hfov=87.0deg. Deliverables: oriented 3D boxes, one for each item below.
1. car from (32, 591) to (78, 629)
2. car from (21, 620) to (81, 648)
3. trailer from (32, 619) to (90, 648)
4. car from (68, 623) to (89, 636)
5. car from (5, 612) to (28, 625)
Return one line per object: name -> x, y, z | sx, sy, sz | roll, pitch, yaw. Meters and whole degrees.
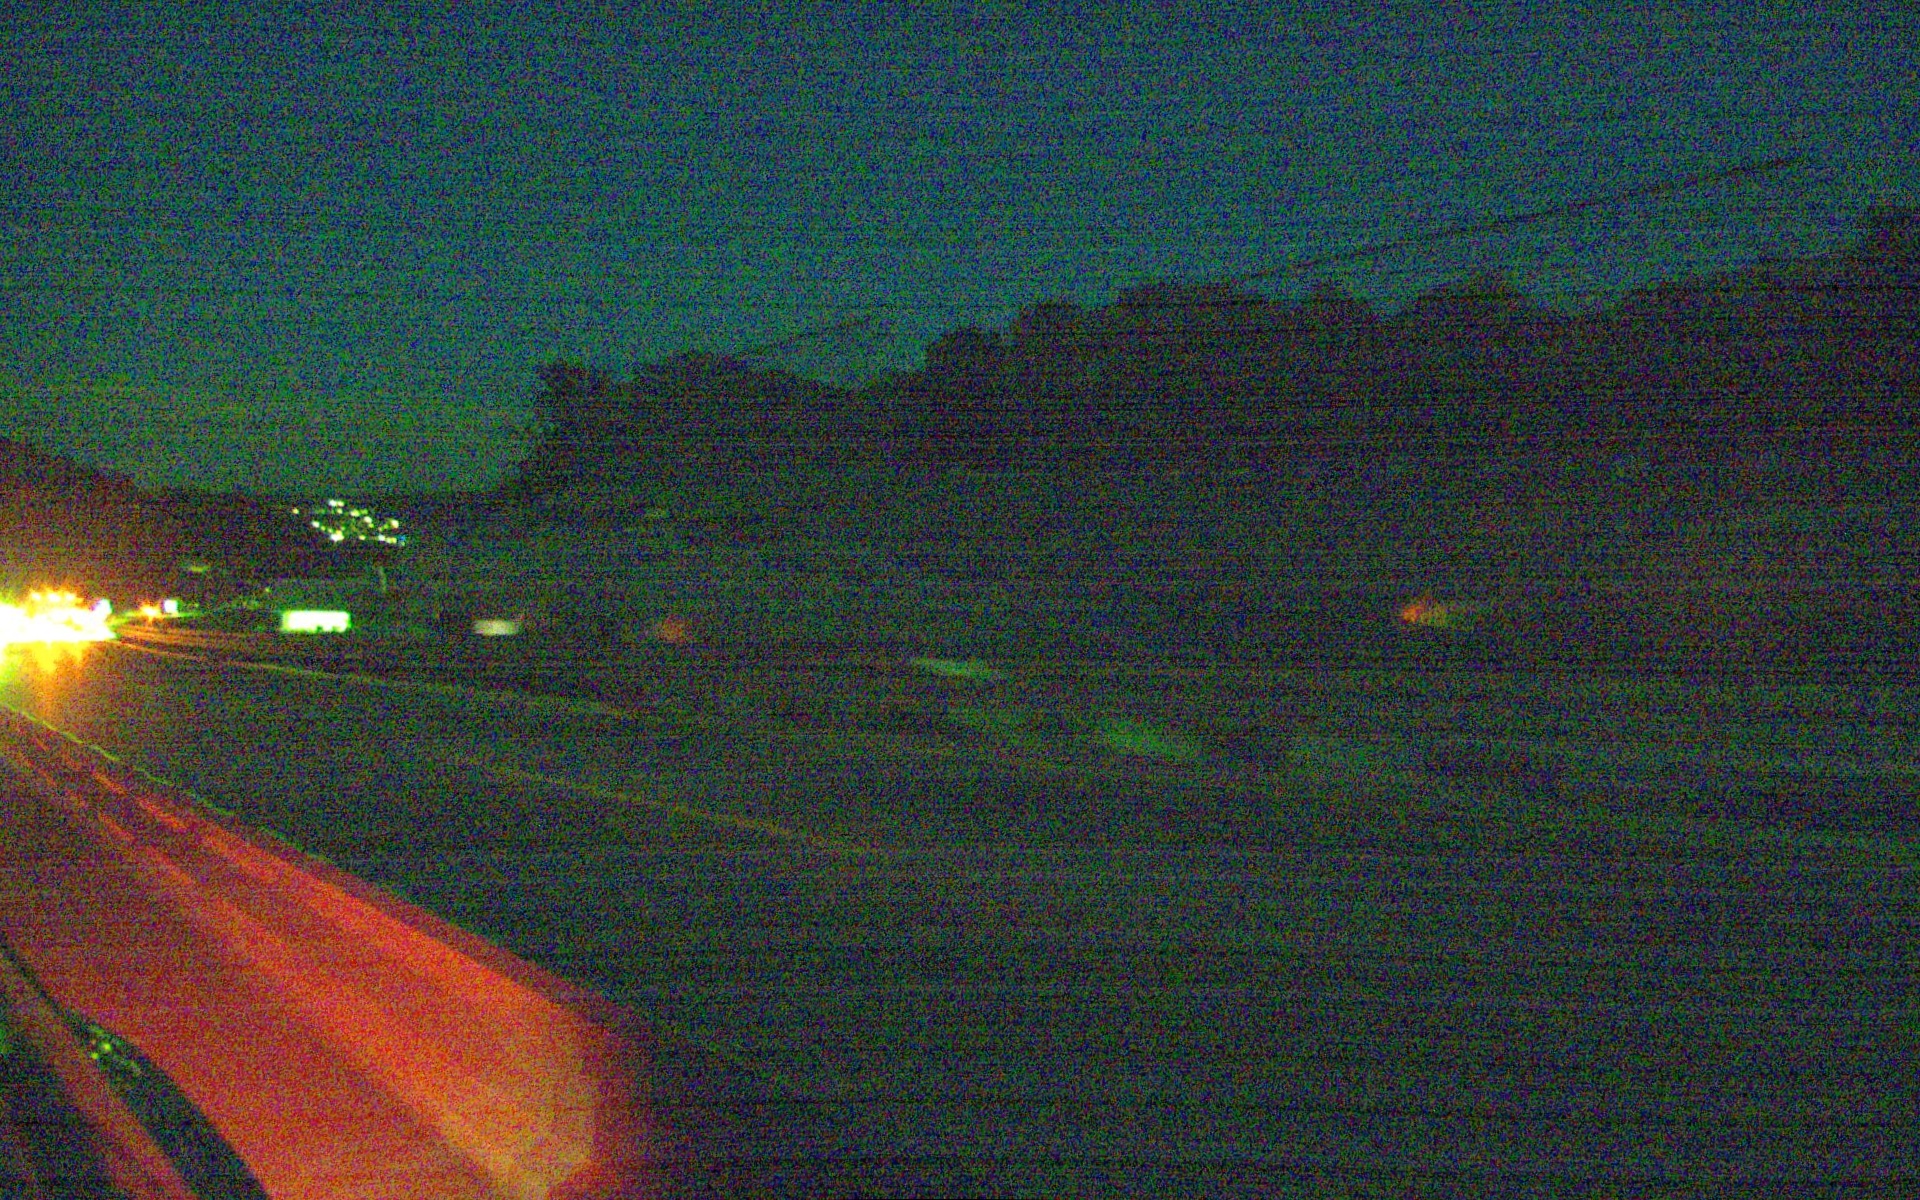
car -> -76.928, 0.807, 85.954 | 2.457, 3.129, 7.390 | 1, -1, -45
car -> -49.160, 1.808, 54.700 | 4.951, 1.437, 1.892 | -2, -2, 42
trailer -> -46.098, 1.722, 51.902 | 3.350, 1.437, 1.863 | -2, -2, 42
car -> -105.464, 3.558, 121.098 | 1.663, 1.470, 4.208 | 1, -1, -39
car -> -128.526, 2.568, 137.866 | 1.664, 1.641, 4.733 | 1, -3, -36
